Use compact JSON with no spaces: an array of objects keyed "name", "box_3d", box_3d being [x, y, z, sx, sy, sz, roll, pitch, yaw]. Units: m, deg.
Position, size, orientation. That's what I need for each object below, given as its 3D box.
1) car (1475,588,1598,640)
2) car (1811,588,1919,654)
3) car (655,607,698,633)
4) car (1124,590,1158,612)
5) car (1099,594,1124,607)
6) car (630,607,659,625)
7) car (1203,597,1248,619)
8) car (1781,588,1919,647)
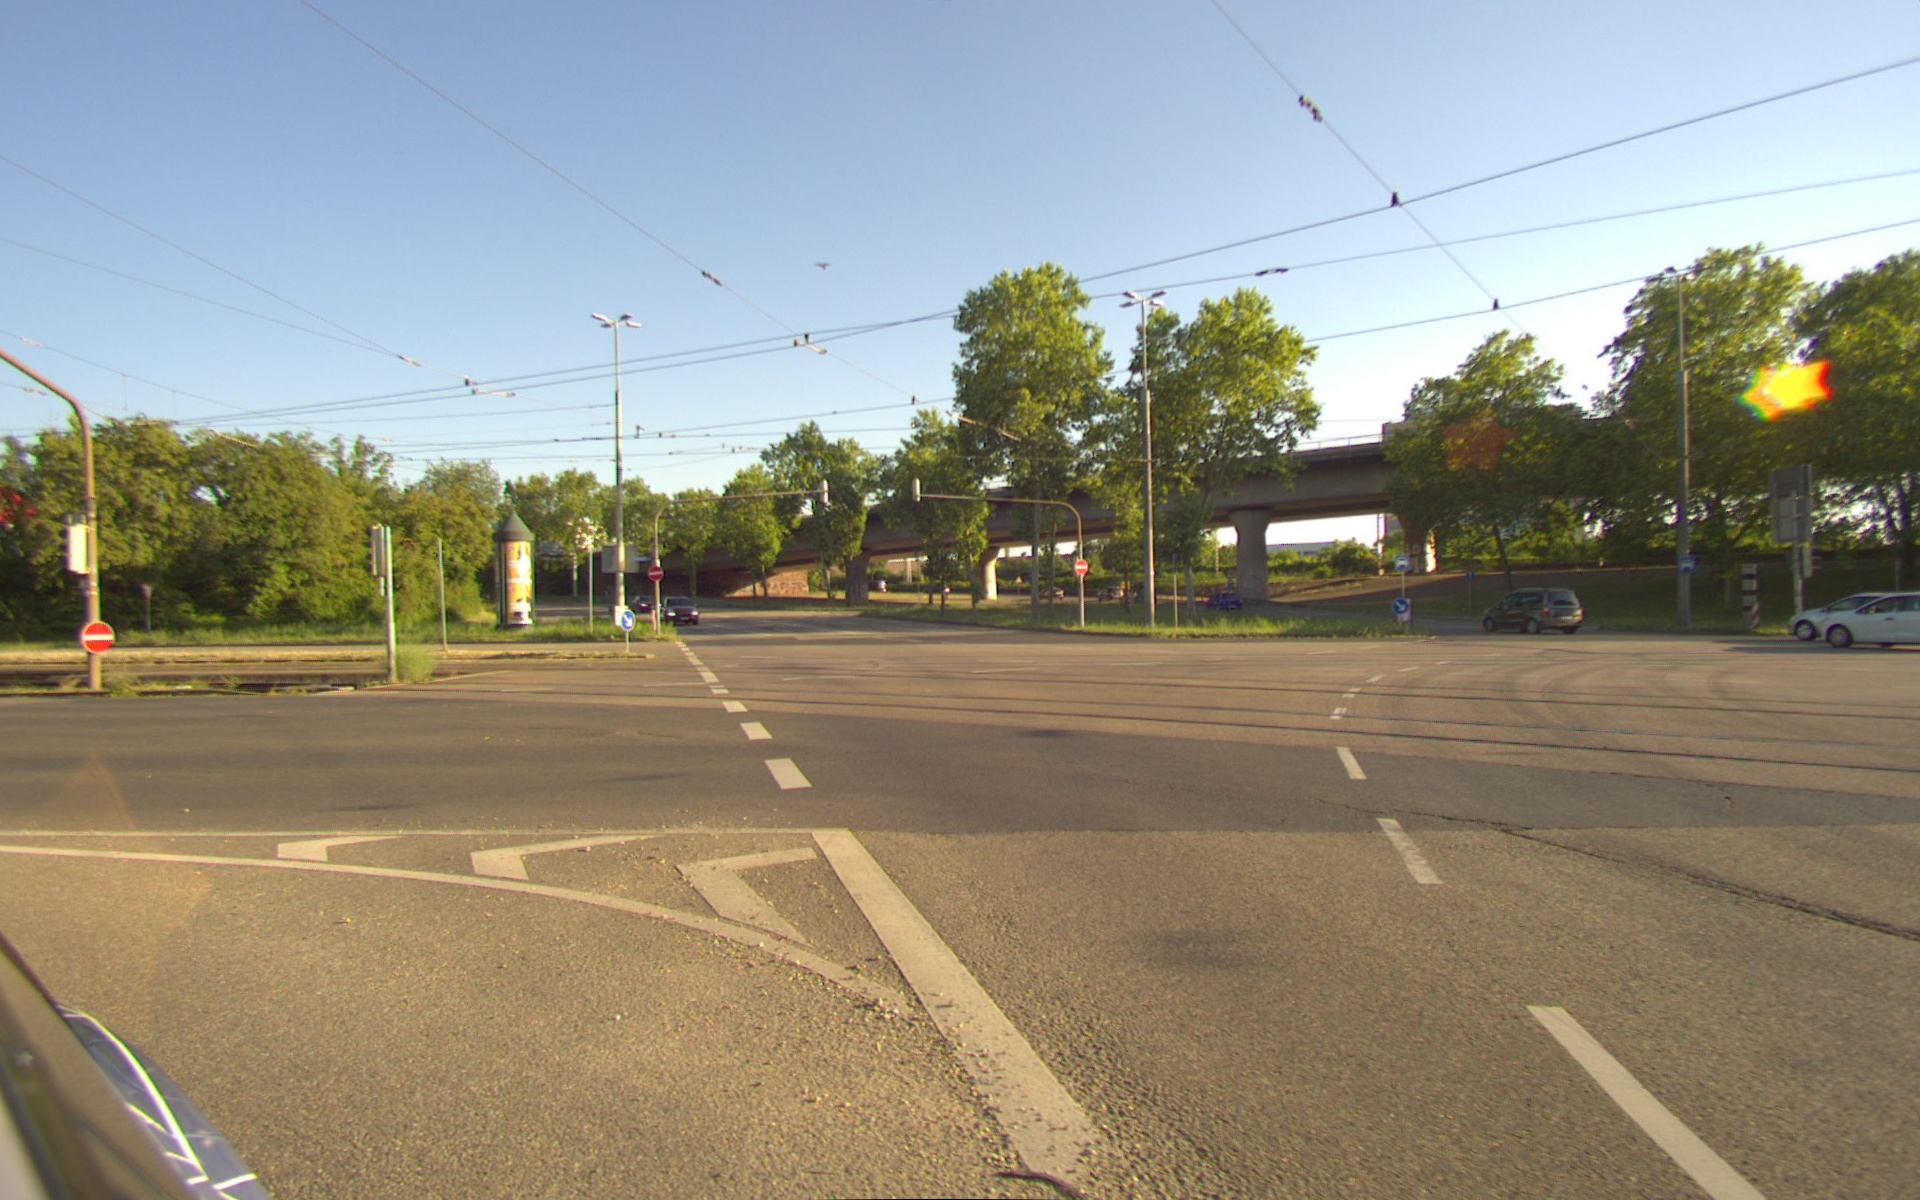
[{"name":"car","box_3d":[22.218,0.522,39.201,1.827,1.881,4.155,-1,0,-10]},{"name":"car","box_3d":[24.486,0.505,25.549,1.826,1.621,4.319,-1,0,-13]},{"name":"car","box_3d":[-17.292,1.218,61.600,1.965,1.497,4.013,-1,-1,-23]},{"name":"car","box_3d":[16.998,0.109,95.179,1.970,1.920,4.709,-1,0,-4]},{"name":"car","box_3d":[16.806,0.071,112.521,1.670,1.433,3.740,-1,0,-8]},{"name":"car","box_3d":[-27.760,1.441,88.970,1.965,1.497,4.013,-1,-1,-25]},{"name":"car","box_3d":[19.425,0.582,74.175,1.970,1.570,3.939,-1,0,-5]},{"name":"car","box_3d":[27.269,0.492,29.926,1.826,1.621,4.382,-1,0,-13]}]
